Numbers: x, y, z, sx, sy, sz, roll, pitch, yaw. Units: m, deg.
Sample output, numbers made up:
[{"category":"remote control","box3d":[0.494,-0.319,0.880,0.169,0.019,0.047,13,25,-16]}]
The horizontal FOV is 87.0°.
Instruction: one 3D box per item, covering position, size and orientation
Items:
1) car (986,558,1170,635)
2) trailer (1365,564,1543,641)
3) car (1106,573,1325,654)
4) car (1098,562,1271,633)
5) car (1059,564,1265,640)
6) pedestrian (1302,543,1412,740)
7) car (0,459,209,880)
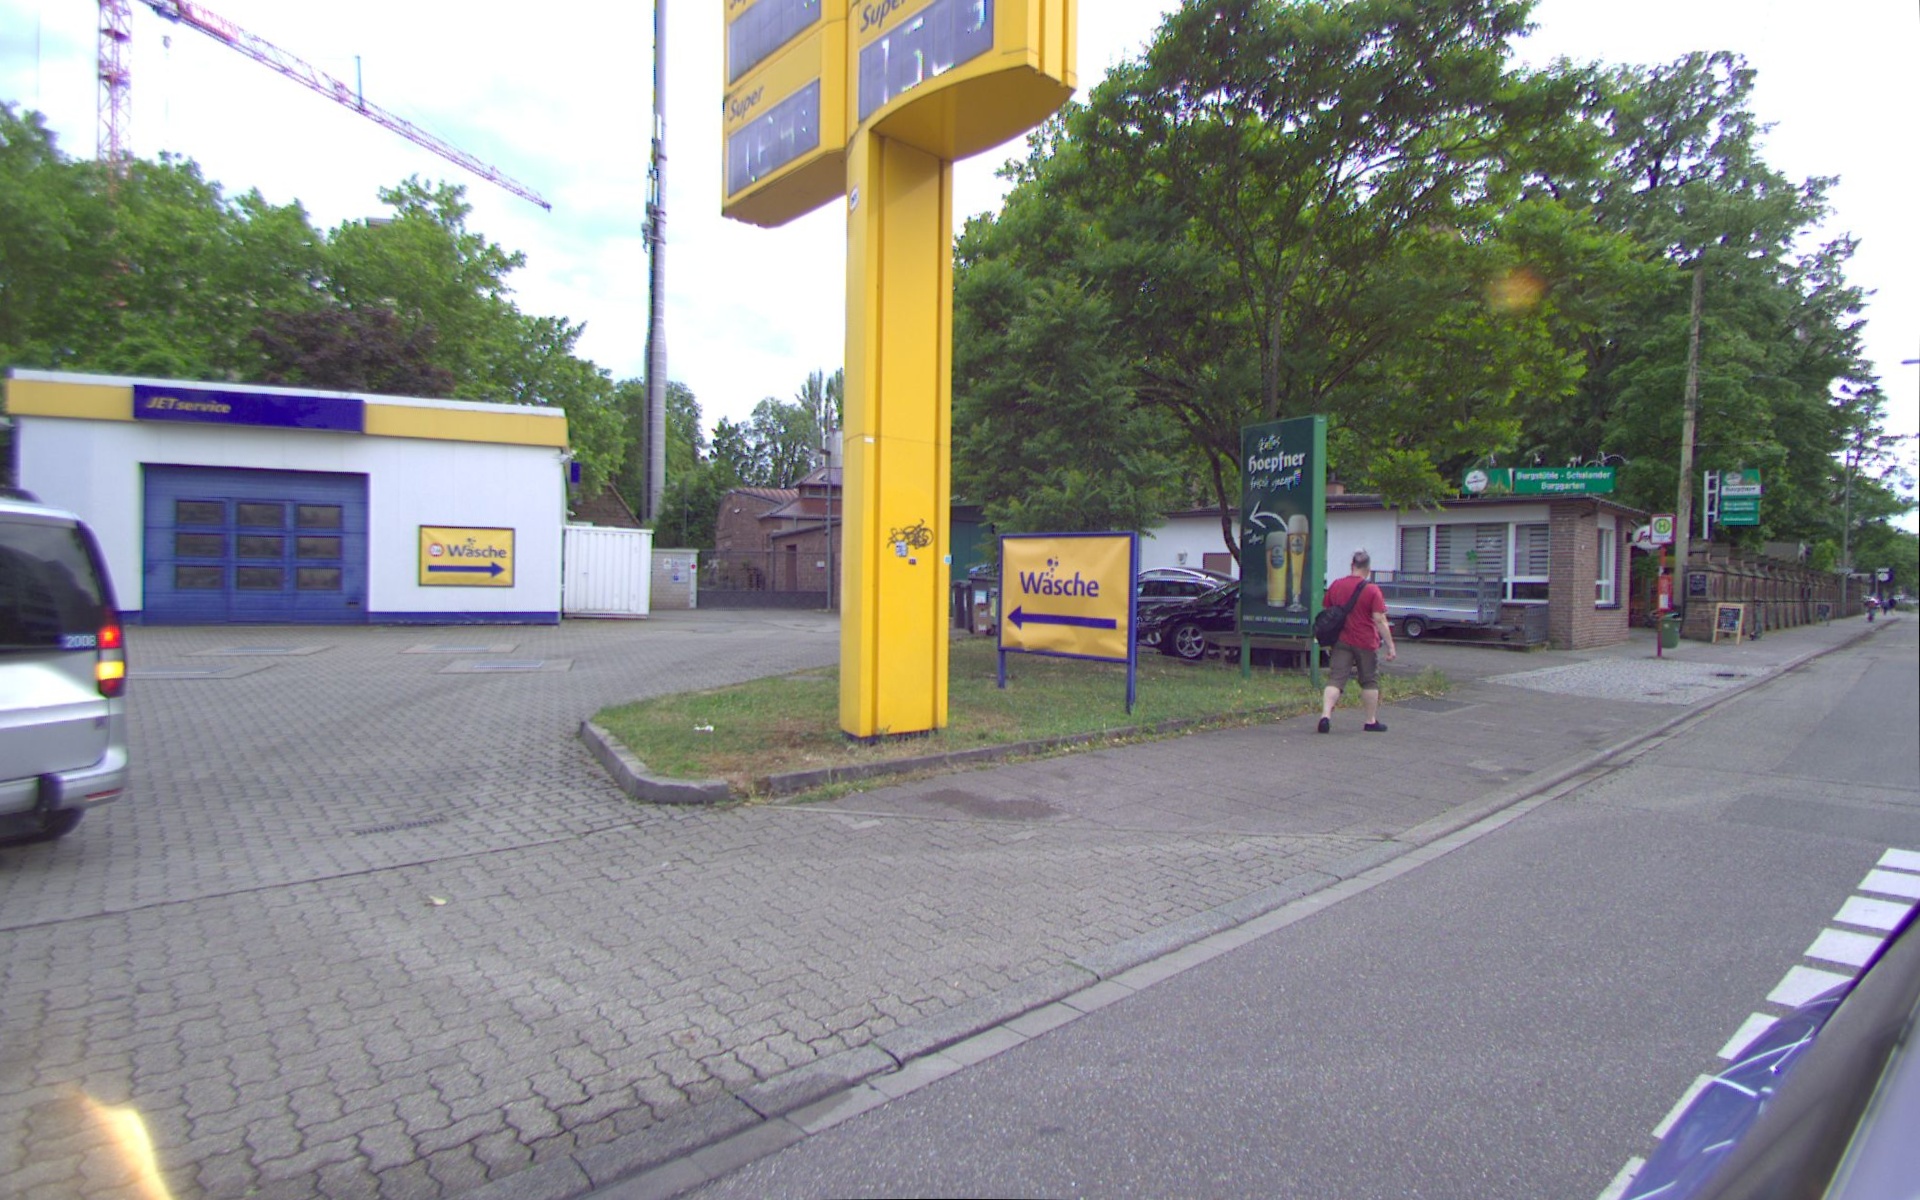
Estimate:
[{"category":"car","box3d":[2.702,-0.104,23.752,3.943,1.717,1.815,0,0,-8]},{"category":"trailer","box3d":[11.374,-0.013,23.402,1.745,1.549,3.286,-3,5,-44]},{"category":"car","box3d":[4.715,0.192,18.435,3.930,1.304,1.997,-1,1,-41]},{"category":"car","box3d":[5.770,-0.082,26.257,1.967,1.688,3.990,0,1,-44]},{"category":"car","box3d":[4.193,0.027,21.432,3.921,1.536,1.828,0,0,-4]},{"category":"pedestrian","box3d":[3.816,0.357,9.793,0.859,1.768,0.845,3,3,20]},{"category":"car","box3d":[-6.346,0.189,5.230,4.477,1.865,1.973,4,2,23]}]
